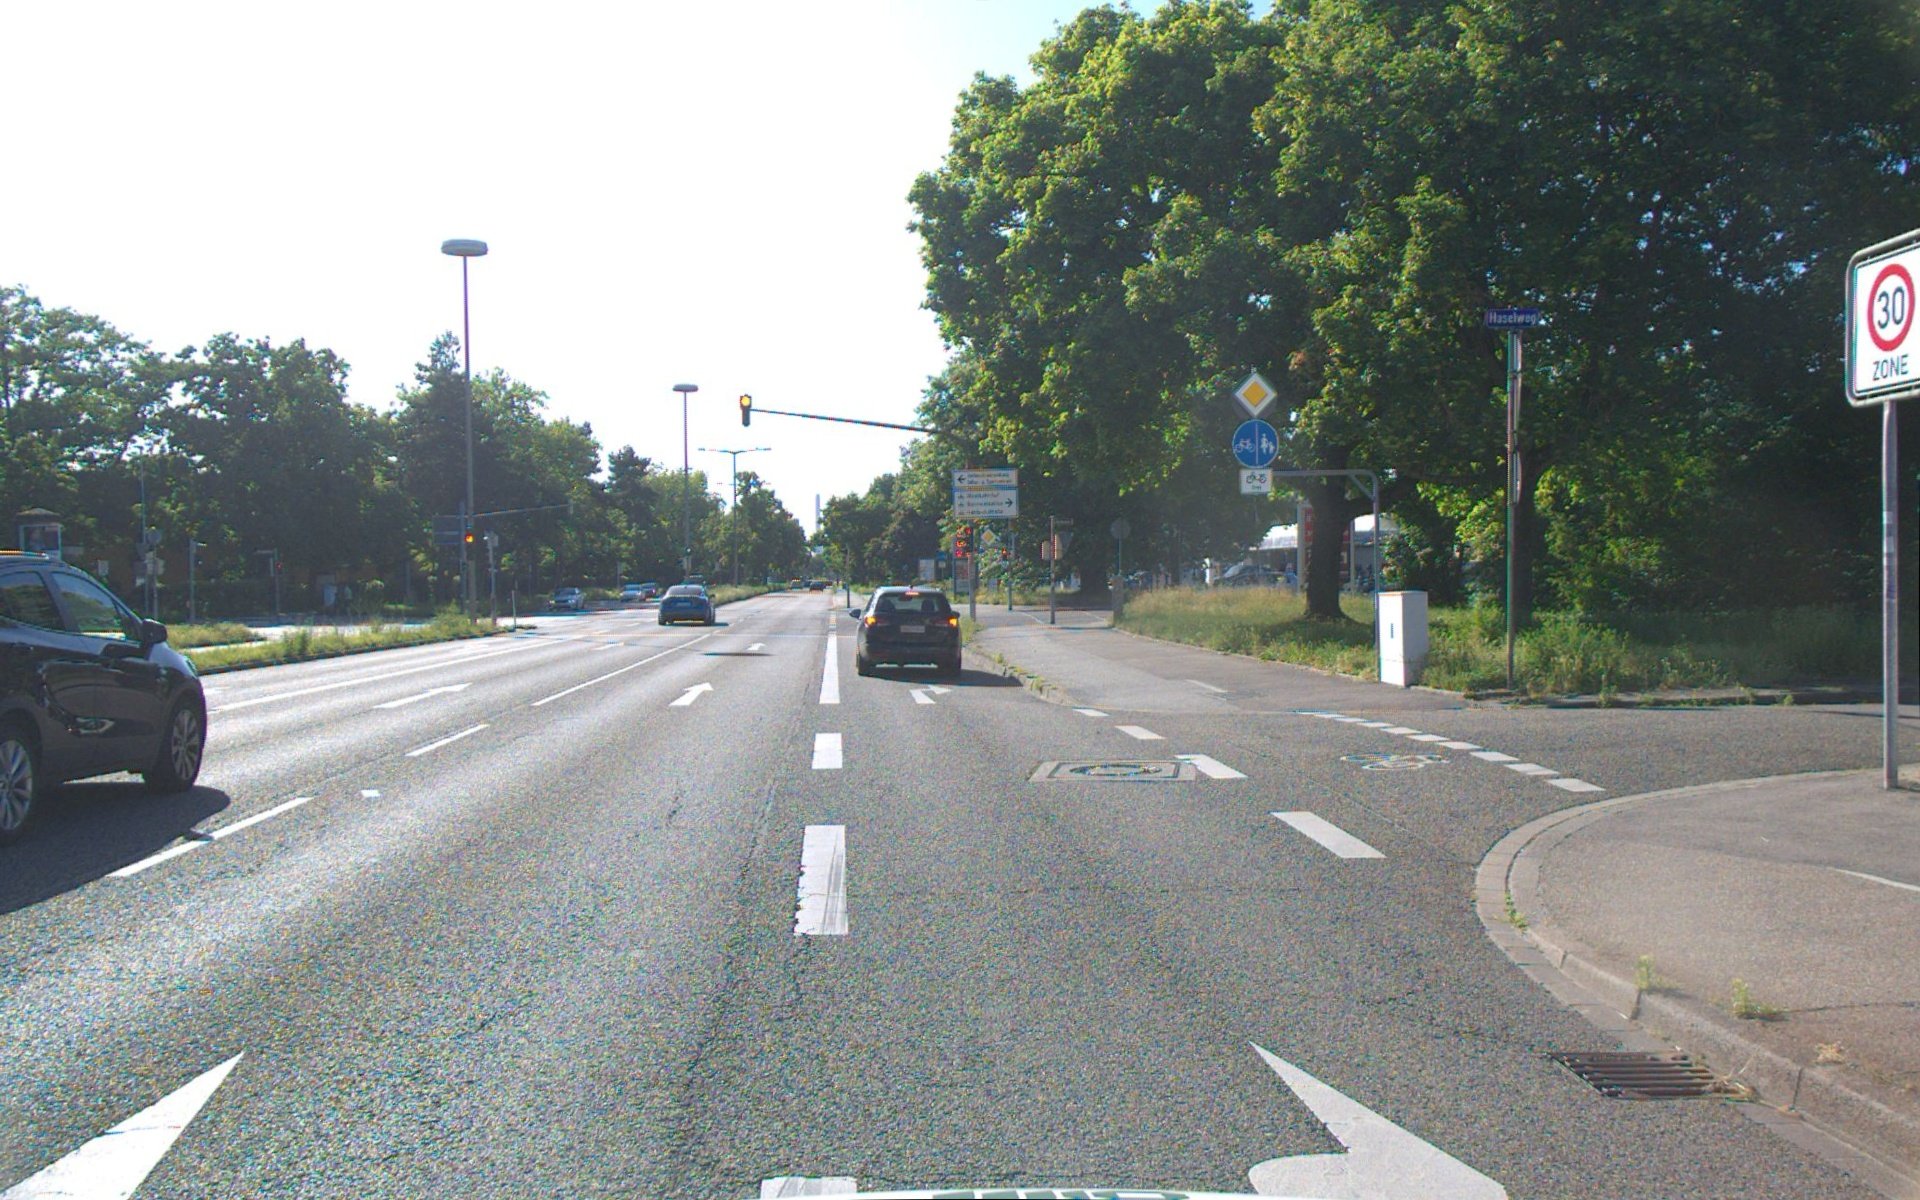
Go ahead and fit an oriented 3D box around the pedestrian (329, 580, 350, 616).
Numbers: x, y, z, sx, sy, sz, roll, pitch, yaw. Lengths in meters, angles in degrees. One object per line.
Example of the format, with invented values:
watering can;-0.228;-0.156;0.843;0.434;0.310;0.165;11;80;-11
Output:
pedestrian;-33.407;-0.115;89.044;0.828;1.867;0.549;-1;1;-1

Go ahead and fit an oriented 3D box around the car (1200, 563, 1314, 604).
car;12.329;-0.675;68.849;4.520;1.601;2.001;-1;0;7

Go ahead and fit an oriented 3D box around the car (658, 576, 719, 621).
car;-9.948;-0.055;60.782;1.851;1.579;3.996;-1;0;-4

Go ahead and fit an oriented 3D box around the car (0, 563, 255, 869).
car;-6.178;0.628;10.616;1.662;1.660;4.414;-1;1;-4

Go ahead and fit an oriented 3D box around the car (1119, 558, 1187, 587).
car;11.362;-1.601;97.097;3.806;1.590;1.782;1;0;-37

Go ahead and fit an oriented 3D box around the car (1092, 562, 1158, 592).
car;9.910;-1.387;99.352;3.673;1.714;1.687;1;0;-31

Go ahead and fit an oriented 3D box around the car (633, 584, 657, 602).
car;-30.773;-0.696;161.728;1.827;1.713;3.997;1;0;-4

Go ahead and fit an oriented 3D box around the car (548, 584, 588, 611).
car;-25.705;-0.188;108.553;1.827;1.713;4.257;1;0;-4

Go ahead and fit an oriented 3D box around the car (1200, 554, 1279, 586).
car;14.952;-1.594;88.438;3.785;1.640;1.792;1;0;-24

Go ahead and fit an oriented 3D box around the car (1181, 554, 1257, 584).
car;14.153;-1.673;90.372;3.785;1.508;1.792;1;0;-24

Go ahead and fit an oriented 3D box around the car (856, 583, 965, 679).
car;-0.917;0.486;28.647;1.721;1.535;3.805;0;0;-5

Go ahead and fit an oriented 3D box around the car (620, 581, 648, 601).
car;-28.269;-0.772;143.432;1.827;1.713;3.997;1;0;-4

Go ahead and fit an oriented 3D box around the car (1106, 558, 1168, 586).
car;11.232;-1.785;105.263;3.641;1.714;1.701;1;0;-7

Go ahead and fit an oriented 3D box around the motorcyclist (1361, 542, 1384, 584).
motorcyclist;17.026;-1.510;68.273;0.842;1.709;0.835;1;0;12

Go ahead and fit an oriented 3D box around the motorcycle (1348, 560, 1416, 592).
motorcycle;17.378;-0.990;68.223;2.667;1.293;0.835;1;0;12

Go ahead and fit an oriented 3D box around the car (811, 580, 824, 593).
car;-19.014;-1.800;220.197;1.698;1.612;3.836;1;0;-5

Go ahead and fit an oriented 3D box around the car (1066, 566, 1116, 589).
car;10.476;-1.799;132.325;3.641;1.714;1.701;1;0;-7
